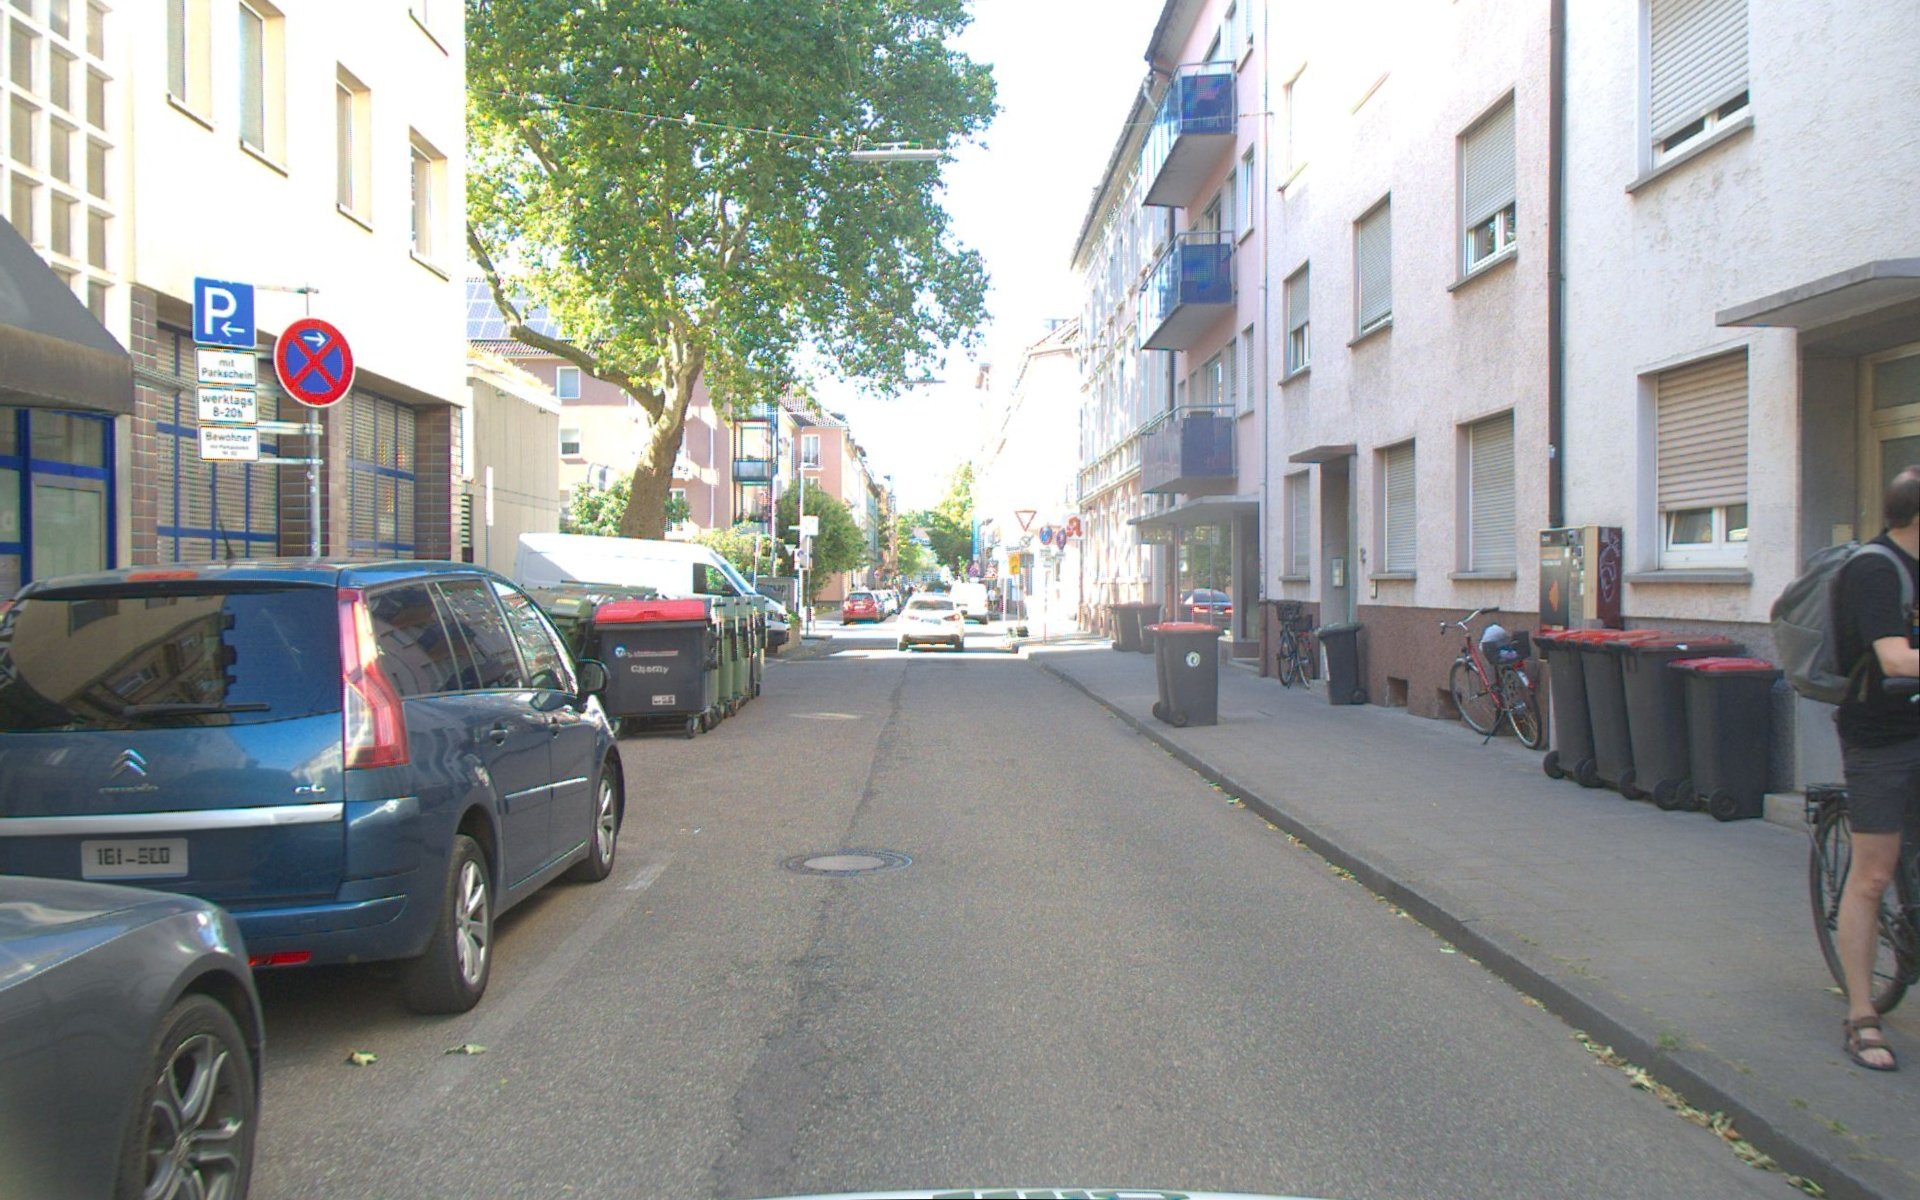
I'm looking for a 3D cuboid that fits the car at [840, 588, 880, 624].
[{"bbox_3d":[-4.646,0.253,77.132,1.734,1.616,3.725,0,1,-2],"label":"car"}]

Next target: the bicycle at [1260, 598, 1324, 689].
[{"bbox_3d":[4.435,0.556,22.192,0.444,1.154,1.920,-3,0,1],"label":"bicycle"}]

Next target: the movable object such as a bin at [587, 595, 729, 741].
[{"bbox_3d":[-3.215,0.703,17.745,1.293,1.476,1.187,-1,0,-1],"label":"movable object such as a bin"}]

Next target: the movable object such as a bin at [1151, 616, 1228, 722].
[{"bbox_3d":[2.454,0.729,17.725,0.717,1.099,0.703,0,-1,0],"label":"movable object such as a bin"}]

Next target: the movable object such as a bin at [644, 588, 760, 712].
[{"bbox_3d":[-3.259,0.620,20.999,1.316,1.525,1.018,0,-1,-1],"label":"movable object such as a bin"}]

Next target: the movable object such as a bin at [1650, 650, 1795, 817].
[{"bbox_3d":[4.594,0.790,9.992,0.593,0.951,0.605,0,0,0],"label":"movable object such as a bin"}]

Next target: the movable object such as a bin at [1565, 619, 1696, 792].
[{"bbox_3d":[4.523,0.699,11.186,0.643,1.124,0.593,0,0,0],"label":"movable object such as a bin"}]

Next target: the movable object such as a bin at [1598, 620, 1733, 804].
[{"bbox_3d":[4.519,0.701,10.624,0.615,1.142,0.569,0,-1,0],"label":"movable object such as a bin"}]

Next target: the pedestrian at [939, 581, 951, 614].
[{"bbox_3d":[-0.982,-0.177,110.419,0.755,2.155,0.834,0,-1,0],"label":"pedestrian"}]

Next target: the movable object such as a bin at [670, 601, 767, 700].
[{"bbox_3d":[-3.361,0.691,23.156,1.216,1.345,1.045,0,-1,-1],"label":"movable object such as a bin"}]

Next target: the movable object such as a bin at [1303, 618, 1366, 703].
[{"bbox_3d":[4.399,0.703,19.451,0.586,0.968,0.682,0,-1,0],"label":"movable object such as a bin"}]

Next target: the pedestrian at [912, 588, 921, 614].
[{"bbox_3d":[-3.170,0.071,119.968,0.634,1.828,0.639,0,-1,0],"label":"pedestrian"}]

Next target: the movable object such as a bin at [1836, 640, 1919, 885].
[{"bbox_3d":[4.631,0.745,7.839,0.603,1.081,0.603,-2,0,-1],"label":"movable object such as a bin"}]

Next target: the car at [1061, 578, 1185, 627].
[{"bbox_3d":[6.831,0.116,69.270,4.791,1.962,1.999,0,-2,24],"label":"car"}]

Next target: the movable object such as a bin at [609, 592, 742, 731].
[{"bbox_3d":[-3.232,0.684,18.919,1.307,1.510,1.093,-2,0,-1],"label":"movable object such as a bin"}]

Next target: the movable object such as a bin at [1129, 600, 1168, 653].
[{"bbox_3d":[4.099,0.574,35.996,0.715,1.123,0.692,0,-1,-3],"label":"movable object such as a bin"}]

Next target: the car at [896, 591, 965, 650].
[{"bbox_3d":[-0.813,0.529,44.990,1.787,1.540,3.822,0,0,-2],"label":"car"}]

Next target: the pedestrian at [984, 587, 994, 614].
[{"bbox_3d":[1.903,0.064,108.305,0.605,1.764,0.560,0,-1,-2],"label":"pedestrian"}]

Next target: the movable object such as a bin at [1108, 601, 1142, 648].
[{"bbox_3d":[3.852,0.569,38.568,0.730,1.105,0.635,0,-1,1],"label":"movable object such as a bin"}]

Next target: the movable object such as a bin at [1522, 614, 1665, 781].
[{"bbox_3d":[4.498,0.676,11.780,0.724,1.116,0.640,-3,-1,0],"label":"movable object such as a bin"}]

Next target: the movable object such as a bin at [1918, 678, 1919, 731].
[{"bbox_3d":[4.665,0.814,7.230,0.565,0.940,0.607,-3,0,-1],"label":"movable object such as a bin"}]

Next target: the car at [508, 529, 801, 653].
[{"bbox_3d":[-7.349,-0.205,40.314,6.601,2.599,2.146,3,-1,0],"label":"car"}]

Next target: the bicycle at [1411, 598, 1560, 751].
[{"bbox_3d":[4.587,0.609,14.577,0.526,1.190,2.076,-4,1,-1],"label":"bicycle"}]

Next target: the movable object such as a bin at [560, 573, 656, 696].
[{"bbox_3d":[-4.940,0.482,23.284,1.204,1.682,1.172,0,-1,-7],"label":"movable object such as a bin"}]

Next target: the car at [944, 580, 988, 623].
[{"bbox_3d":[0.267,0.067,80.453,1.904,1.982,4.075,1,0,-3],"label":"car"}]

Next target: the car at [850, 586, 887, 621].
[{"bbox_3d":[-4.558,0.188,82.732,1.685,1.712,3.725,0,0,0],"label":"car"}]

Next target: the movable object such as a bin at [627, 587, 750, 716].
[{"bbox_3d":[-3.259,0.613,19.963,1.321,1.513,1.003,0,-1,-1],"label":"movable object such as a bin"}]

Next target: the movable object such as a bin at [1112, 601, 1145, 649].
[{"bbox_3d":[3.862,0.573,37.936,0.687,1.092,0.596,0,-1,1],"label":"movable object such as a bin"}]

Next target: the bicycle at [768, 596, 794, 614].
[{"bbox_3d":[-9.580,0.281,88.314,0.598,0.948,1.892,0,-1,-34],"label":"bicycle"}]

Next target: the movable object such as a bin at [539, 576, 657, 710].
[{"bbox_3d":[-4.563,0.539,20.959,1.268,1.649,1.018,0,-1,-1],"label":"movable object such as a bin"}]

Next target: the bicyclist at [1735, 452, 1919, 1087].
[{"bbox_3d":[3.003,0.458,5.121,0.745,1.801,0.822,-2,1,-3],"label":"bicyclist"}]

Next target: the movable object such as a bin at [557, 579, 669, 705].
[{"bbox_3d":[-4.599,0.552,22.023,1.262,1.632,1.081,0,-1,-1],"label":"movable object such as a bin"}]

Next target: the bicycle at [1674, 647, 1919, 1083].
[{"bbox_3d":[3.045,0.789,5.156,0.650,1.156,1.987,-3,1,-3],"label":"bicycle"}]

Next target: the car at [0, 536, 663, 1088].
[{"bbox_3d":[-2.629,0.652,7.519,1.746,1.696,4.669,-1,0,-1],"label":"car"}]

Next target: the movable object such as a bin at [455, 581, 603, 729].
[{"bbox_3d":[-4.589,0.575,17.720,1.270,1.524,1.178,0,-1,-1],"label":"movable object such as a bin"}]

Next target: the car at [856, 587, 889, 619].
[{"bbox_3d":[-4.658,0.183,88.245,1.602,1.685,3.784,0,0,0],"label":"car"}]

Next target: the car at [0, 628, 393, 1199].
[{"bbox_3d":[-2.453,0.813,2.142,1.808,1.441,4.817,-2,0,-1],"label":"car"}]

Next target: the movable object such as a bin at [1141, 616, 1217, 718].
[{"bbox_3d":[2.433,0.740,18.438,0.752,1.105,0.693,0,-1,0],"label":"movable object such as a bin"}]

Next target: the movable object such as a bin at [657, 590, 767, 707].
[{"bbox_3d":[-3.295,0.632,22.066,1.307,1.517,1.081,0,-1,-1],"label":"movable object such as a bin"}]

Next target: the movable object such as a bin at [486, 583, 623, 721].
[{"bbox_3d":[-4.602,0.579,18.879,1.279,1.525,1.156,0,-1,-1],"label":"movable object such as a bin"}]

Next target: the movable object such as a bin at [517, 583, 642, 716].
[{"bbox_3d":[-4.571,0.586,19.956,1.275,1.549,1.018,0,-1,-1],"label":"movable object such as a bin"}]

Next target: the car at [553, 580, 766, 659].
[{"bbox_3d":[-6.754,0.431,37.526,4.408,1.496,1.929,3,0,0],"label":"car"}]

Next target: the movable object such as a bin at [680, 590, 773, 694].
[{"bbox_3d":[-3.410,0.604,24.254,1.275,1.476,1.116,0,-1,-5],"label":"movable object such as a bin"}]

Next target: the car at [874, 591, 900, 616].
[{"bbox_3d":[-4.818,0.232,109.349,1.540,1.613,3.610,0,0,0],"label":"car"}]
